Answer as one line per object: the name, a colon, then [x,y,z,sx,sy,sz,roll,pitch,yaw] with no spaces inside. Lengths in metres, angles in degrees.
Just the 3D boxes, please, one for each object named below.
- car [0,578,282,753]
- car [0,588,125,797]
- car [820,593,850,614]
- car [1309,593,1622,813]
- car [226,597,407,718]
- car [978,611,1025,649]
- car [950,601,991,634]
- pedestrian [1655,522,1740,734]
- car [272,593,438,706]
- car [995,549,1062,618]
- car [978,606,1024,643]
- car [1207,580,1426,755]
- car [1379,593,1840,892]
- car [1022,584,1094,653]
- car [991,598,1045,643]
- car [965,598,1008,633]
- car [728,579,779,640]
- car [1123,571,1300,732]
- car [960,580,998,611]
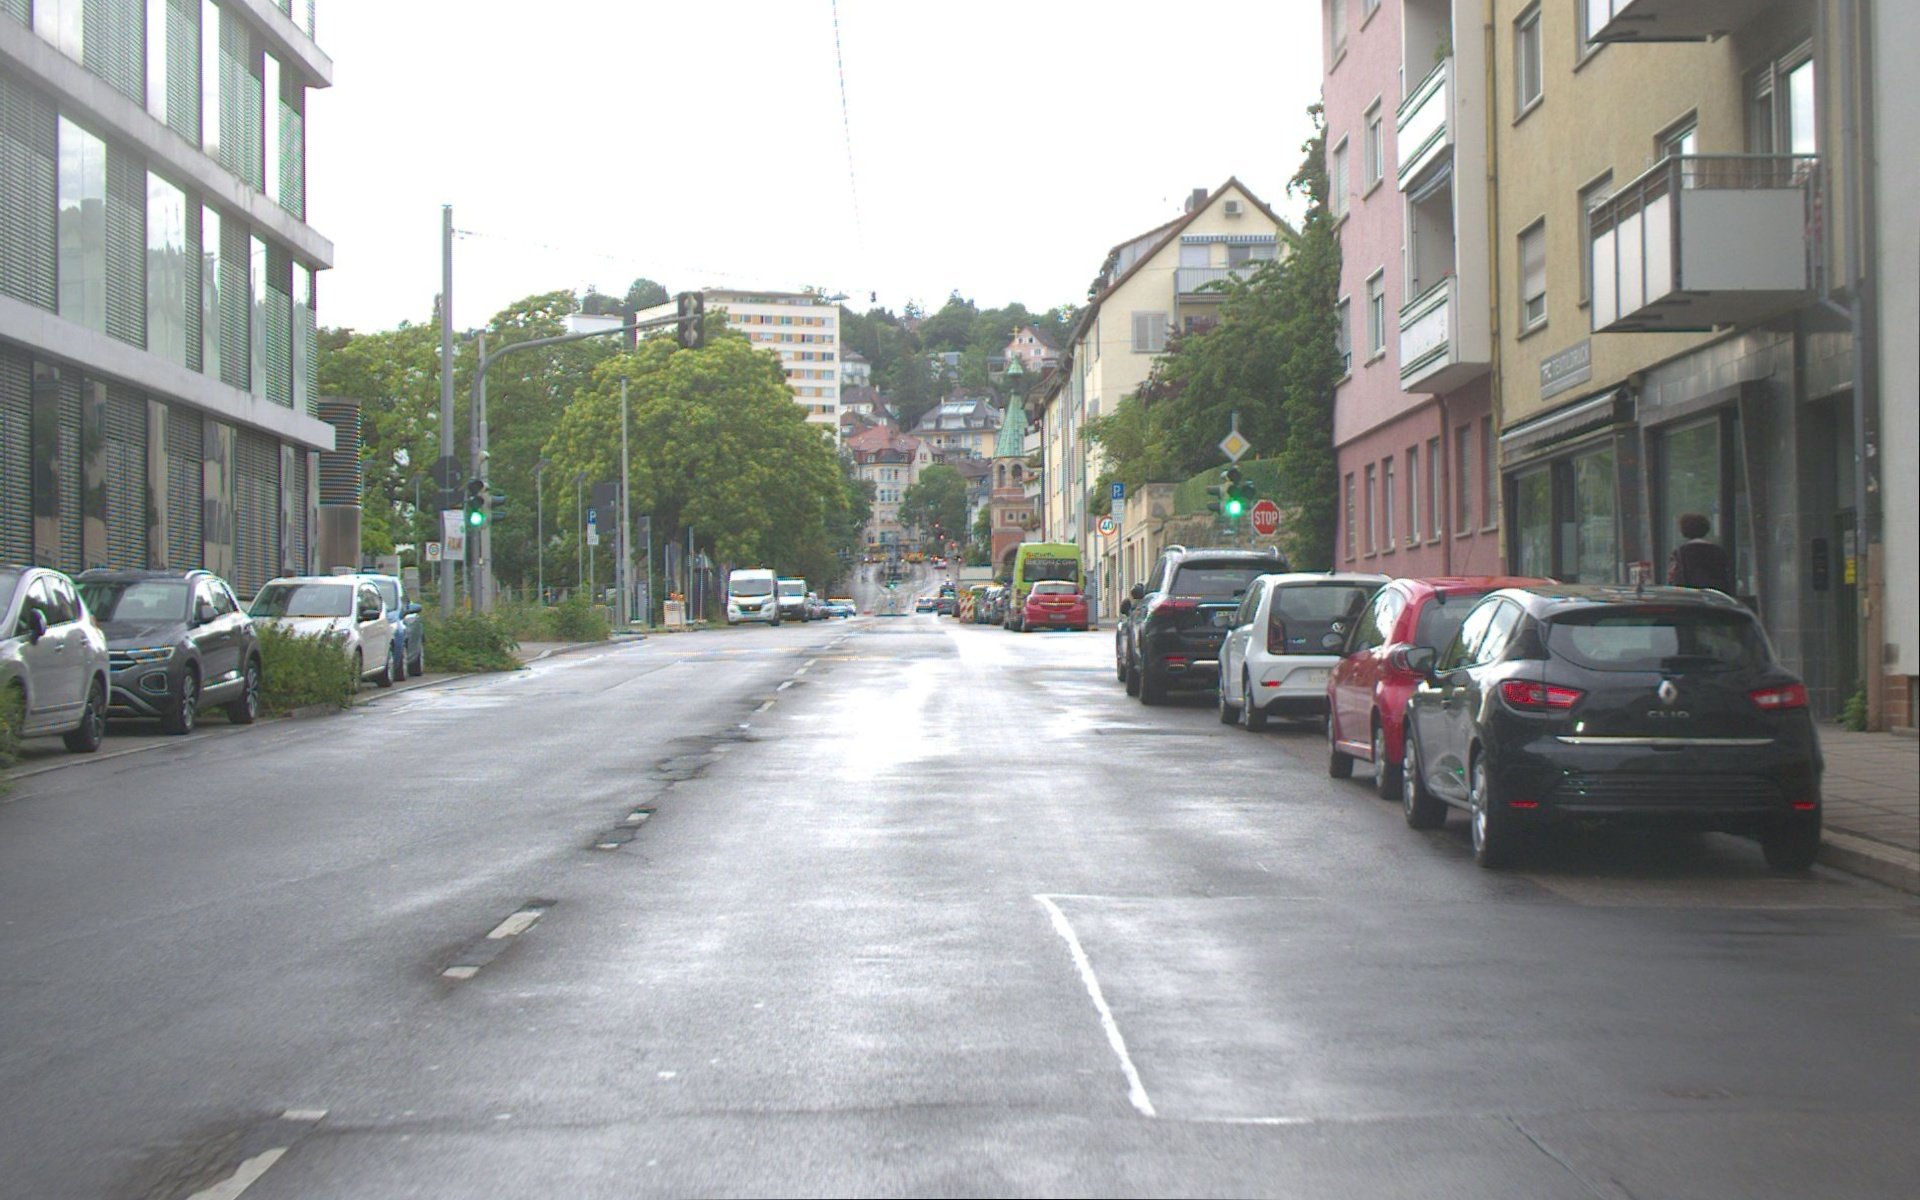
car: [-8.064,0.621,33.818,1.801,1.598,4.233,1,0,2]
car: [-8.121,0.686,27.737,1.771,1.529,4.316,0,1,-1]
car: [-9.374,0.253,257.814,2.035,1.583,4.359,1,0,-4]
car: [3.450,0.663,24.020,1.582,1.409,3.654,0,0,-1]
car: [-8.323,0.718,44.740,1.595,1.454,3.719,0,1,1]
car: [1.774,1.253,145.737,1.867,1.598,4.189,0,0,2]
car: [0.513,0.871,169.232,1.867,1.598,4.189,0,0,2]
pedestrian: [6.562,0.247,30.595,0.639,1.864,0.538,0,0,1]
car: [-8.752,0.683,50.062,1.866,1.520,4.197,0,1,-3]
car: [2.007,-0.472,100.189,1.867,1.966,4.189,0,0,2]
car: [1.808,1.069,150.774,1.867,1.598,4.189,0,0,2]
car: [3.335,0.606,32.763,1.635,1.566,3.711,0,0,-1]
car: [3.431,0.697,18.854,1.706,1.449,3.985,0,0,-1]
car: [2.613,0.492,91.043,1.867,1.764,4.189,0,0,2]
car: [2.141,0.758,126.380,1.867,1.598,4.189,0,0,2]
car: [1.269,0.709,161.031,1.867,1.598,4.189,0,0,2]
car: [-8.793,0.413,146.622,2.105,2.538,4.751,0,0,-3]
car: [2.834,0.541,39.441,1.654,1.732,4.180,0,1,-1]
car: [1.017,-0.207,180.098,1.867,1.598,4.189,0,0,2]
